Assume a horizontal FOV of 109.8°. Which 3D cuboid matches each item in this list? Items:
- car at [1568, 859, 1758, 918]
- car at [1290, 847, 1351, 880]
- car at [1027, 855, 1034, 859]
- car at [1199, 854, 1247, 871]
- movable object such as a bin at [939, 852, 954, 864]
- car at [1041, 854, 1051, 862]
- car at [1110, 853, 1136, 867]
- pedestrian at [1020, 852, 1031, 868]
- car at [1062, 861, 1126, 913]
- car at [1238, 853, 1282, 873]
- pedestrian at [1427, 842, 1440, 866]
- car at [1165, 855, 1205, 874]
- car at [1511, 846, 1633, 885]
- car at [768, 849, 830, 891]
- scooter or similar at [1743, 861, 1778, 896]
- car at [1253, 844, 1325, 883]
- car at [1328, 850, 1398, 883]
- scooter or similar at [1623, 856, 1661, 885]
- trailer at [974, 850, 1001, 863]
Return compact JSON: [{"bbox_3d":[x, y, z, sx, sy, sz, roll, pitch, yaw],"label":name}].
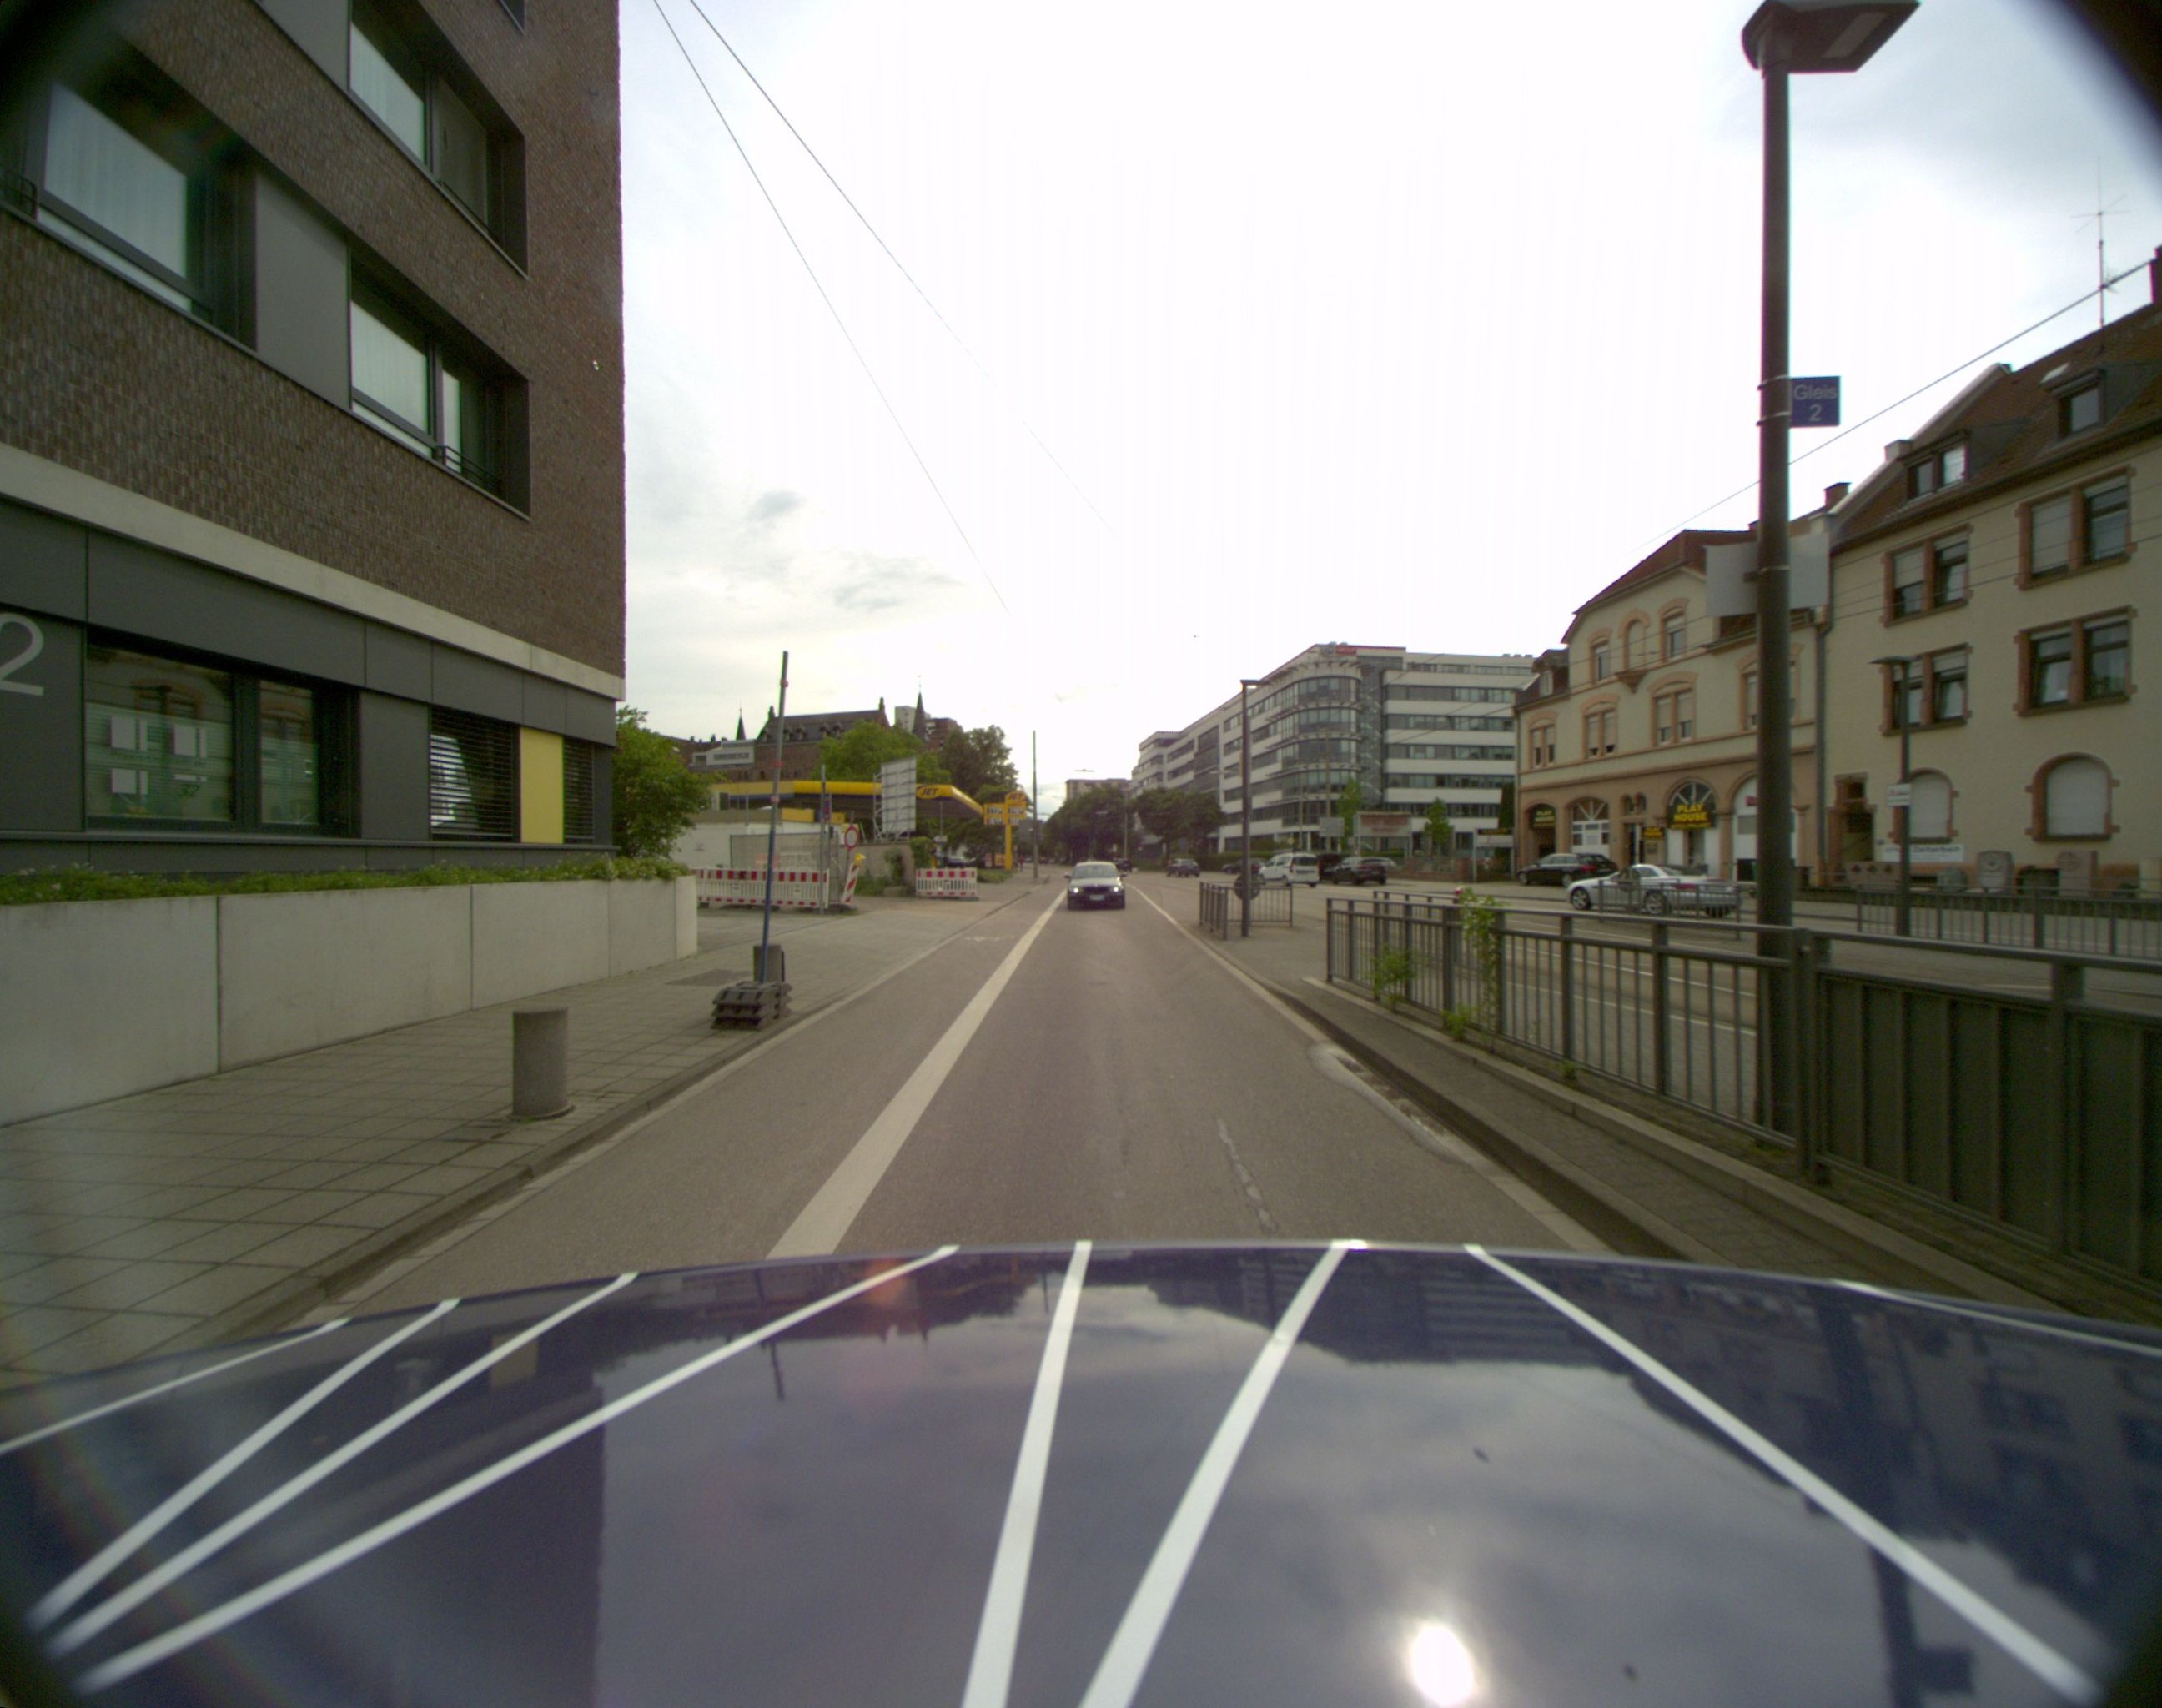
[{"bbox_3d":[14.727,0.808,19.530,1.755,1.291,3.831,0,1,-4],"label":"car"},{"bbox_3d":[15.900,0.554,50.725,1.992,2.002,5.182,-2,1,-5],"label":"car"},{"bbox_3d":[-17.109,0.983,257.749,1.802,1.537,4.476,-1,1,-9],"label":"car"},{"bbox_3d":[12.755,0.717,68.006,3.978,1.443,1.819,0,1,20],"label":"car"},{"bbox_3d":[-14.743,0.444,83.262,1.118,1.312,1.162,-1,1,28],"label":"movable object such as a bin"},{"bbox_3d":[-8.803,0.993,190.347,1.848,1.714,4.403,-1,1,-10],"label":"car"},{"bbox_3d":[4.636,0.661,84.758,1.911,1.464,4.815,1,0,-10],"label":"car"},{"bbox_3d":[-6.150,0.662,83.894,0.871,1.738,0.848,2,1,-32],"label":"pedestrian"},{"bbox_3d":[0.426,0.952,23.658,1.786,1.361,4.113,-1,1,1],"label":"car"},{"bbox_3d":[14.424,0.715,61.016,1.790,1.521,4.150,2,1,39],"label":"car"},{"bbox_3d":[26.679,0.009,57.511,0.636,1.764,0.761,-1,1,0],"label":"pedestrian"},{"bbox_3d":[8.214,0.785,60.411,1.888,1.420,4.420,0,0,-10],"label":"car"},{"bbox_3d":[21.780,0.457,34.005,1.999,1.484,4.900,-5,1,-4],"label":"car"},{"bbox_3d":[-12.060,0.638,32.385,2.003,1.628,3.940,0,1,-27],"label":"car"},{"bbox_3d":[21.906,0.777,24.495,1.180,1.095,0.526,-2,1,-33],"label":"scooter or similar"},{"bbox_3d":[11.108,0.458,40.911,1.891,1.977,4.520,0,1,-12],"label":"car"},{"bbox_3d":[16.482,0.711,44.680,2.043,1.739,4.532,-2,0,-6],"label":"car"},{"bbox_3d":[22.734,0.653,30.786,1.178,1.095,0.527,-3,1,-8],"label":"scooter or similar"},{"bbox_3d":[-11.535,0.342,94.095,3.292,1.523,1.772,1,3,-6],"label":"trailer"}]
